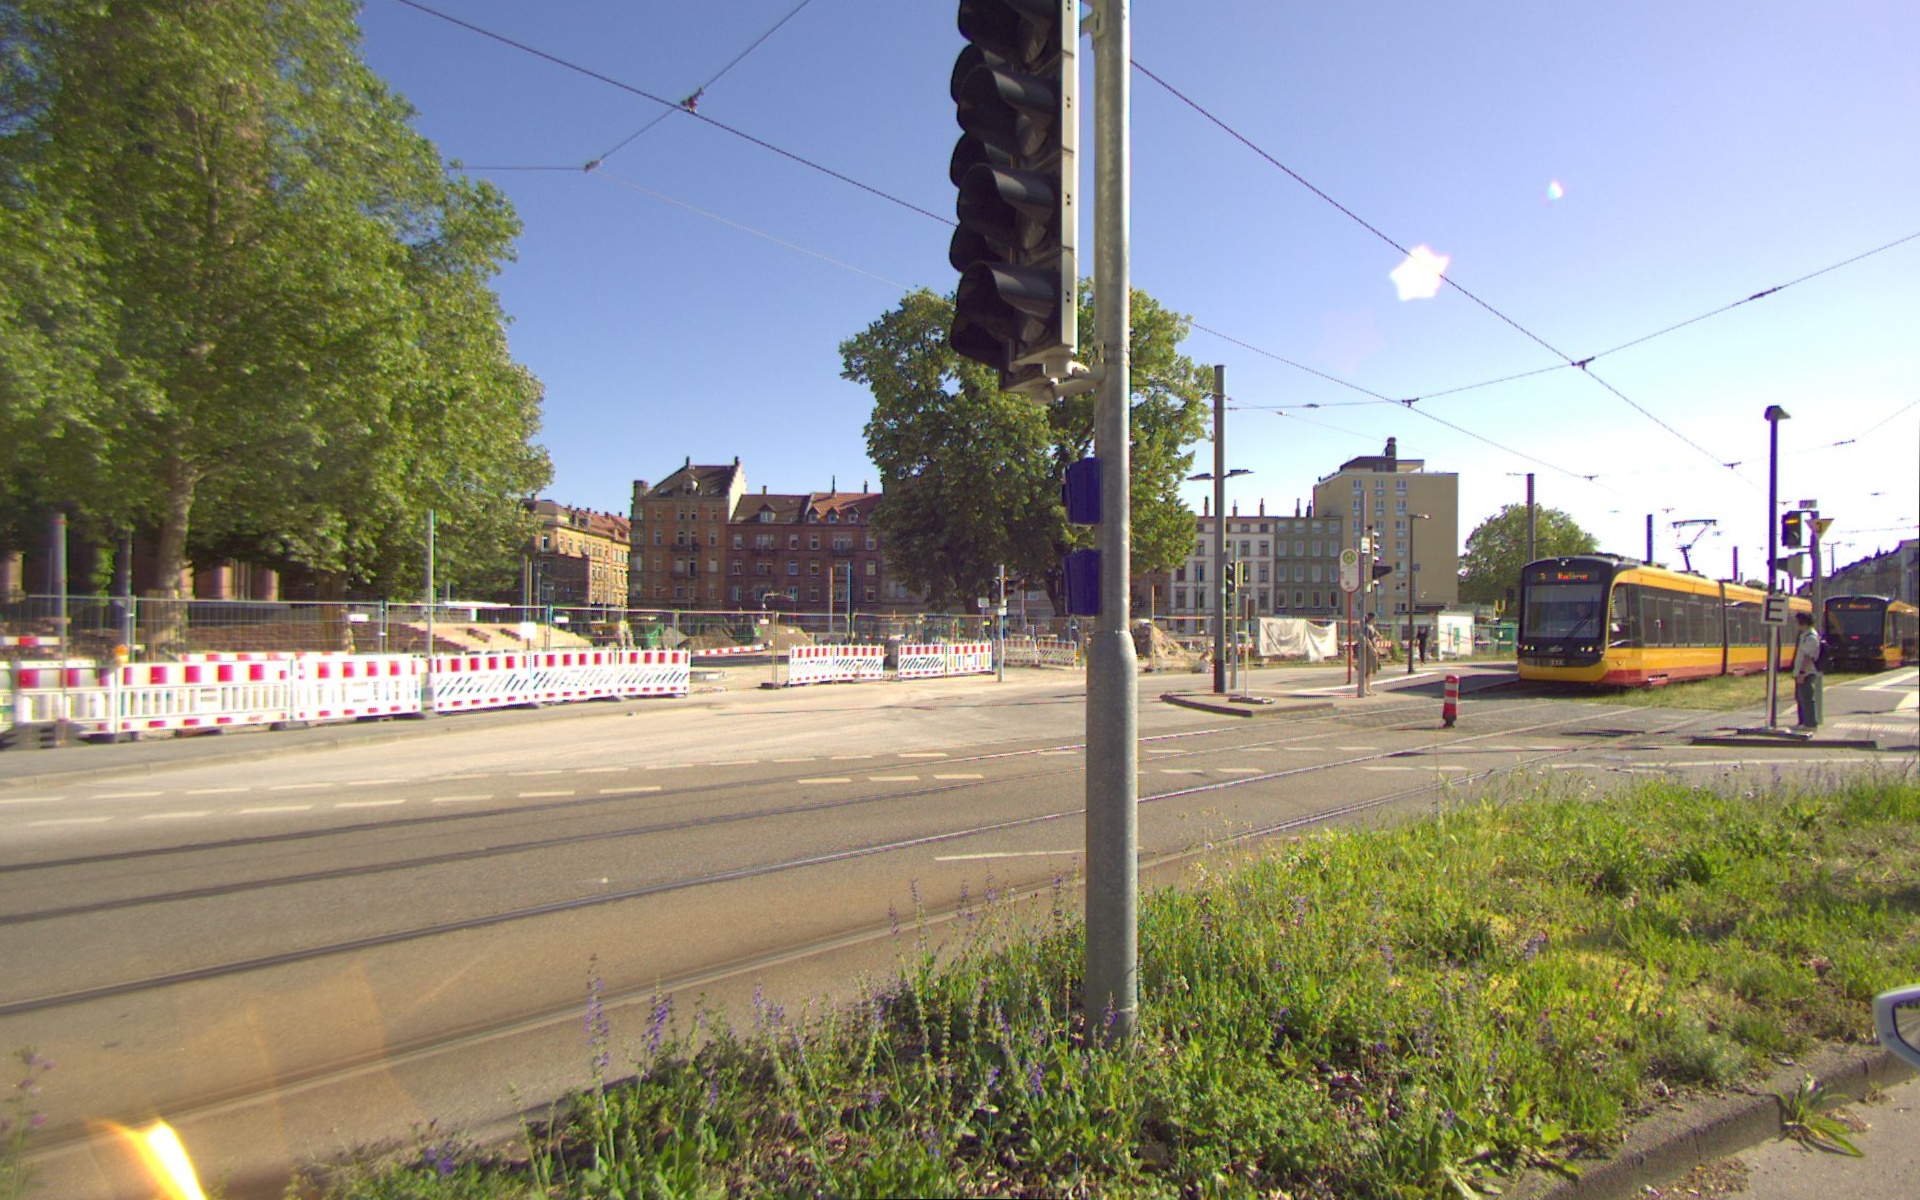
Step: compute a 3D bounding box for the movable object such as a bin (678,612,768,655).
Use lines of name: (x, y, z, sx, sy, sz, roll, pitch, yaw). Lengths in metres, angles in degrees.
movable object such as a bin: (-16.976, 2.401, 72.193, 5.968, 2.795, 1.894, 2, -1, -3)

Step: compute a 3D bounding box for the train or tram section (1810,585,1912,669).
train or tram section: (42.334, 1.283, 47.049, 10.472, 3.554, 2.843, 2, -2, -44)

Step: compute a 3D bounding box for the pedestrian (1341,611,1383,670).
pedestrian: (12.507, 1.262, 31.277, 0.954, 1.791, 0.865, 0, -1, 2)

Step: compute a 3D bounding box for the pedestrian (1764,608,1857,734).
pedestrian: (13.175, 1.074, 15.590, 1.003, 1.856, 0.758, 1, -1, 36)

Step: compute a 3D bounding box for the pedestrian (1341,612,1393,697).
pedestrian: (9.325, 1.227, 23.010, 0.888, 1.875, 0.760, -1, 1, 39)

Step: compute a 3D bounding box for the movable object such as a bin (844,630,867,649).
movable object such as a bin: (-10.046, 3.796, 96.843, 1.716, 1.702, 3.802, 0, -1, 2)

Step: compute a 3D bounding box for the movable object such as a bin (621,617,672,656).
movable object such as a bin: (-20.075, 2.324, 64.541, 1.857, 2.377, 4.230, 2, -1, 0)

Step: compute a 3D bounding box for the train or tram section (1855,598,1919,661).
train or tram section: (57.323, 1.818, 61.644, 10.472, 3.554, 2.843, 2, -1, -44)

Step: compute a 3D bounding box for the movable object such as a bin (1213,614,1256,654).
movable object such as a bin: (20.646, 2.542, 75.699, 1.798, 2.833, 3.997, 2, -1, -5)

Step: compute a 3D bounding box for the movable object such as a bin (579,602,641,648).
movable object such as a bin: (-26.331, 1.893, 75.852, 3.060, 3.214, 5.244, 2, -1, -5)

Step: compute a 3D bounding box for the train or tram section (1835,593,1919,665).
train or tram section: (49.795, 1.596, 54.346, 10.472, 3.554, 2.843, 2, -2, -44)

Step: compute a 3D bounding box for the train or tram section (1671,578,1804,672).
train or tram section: (33.417, 1.076, 42.930, 11.132, 3.554, 2.790, 2, -1, -43)

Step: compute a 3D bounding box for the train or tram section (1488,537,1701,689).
train or tram section: (18.063, 0.478, 28.152, 10.411, 3.554, 2.789, 2, -2, -45)

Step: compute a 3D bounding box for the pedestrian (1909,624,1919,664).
pedestrian: (47.800, 2.205, 50.027, 0.732, 1.943, 0.738, 1, -1, 45)

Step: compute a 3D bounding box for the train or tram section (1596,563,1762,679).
train or tram section: (25.588, 0.786, 35.445, 10.537, 3.554, 2.790, 2, -1, -43)

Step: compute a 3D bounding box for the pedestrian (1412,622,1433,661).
pedestrian: (21.780, 1.945, 47.282, 0.795, 1.791, 0.661, 2, -2, -45)

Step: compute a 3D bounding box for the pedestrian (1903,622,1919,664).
pedestrian: (44.087, 2.001, 46.301, 0.756, 1.908, 0.838, 3, -1, -45)
